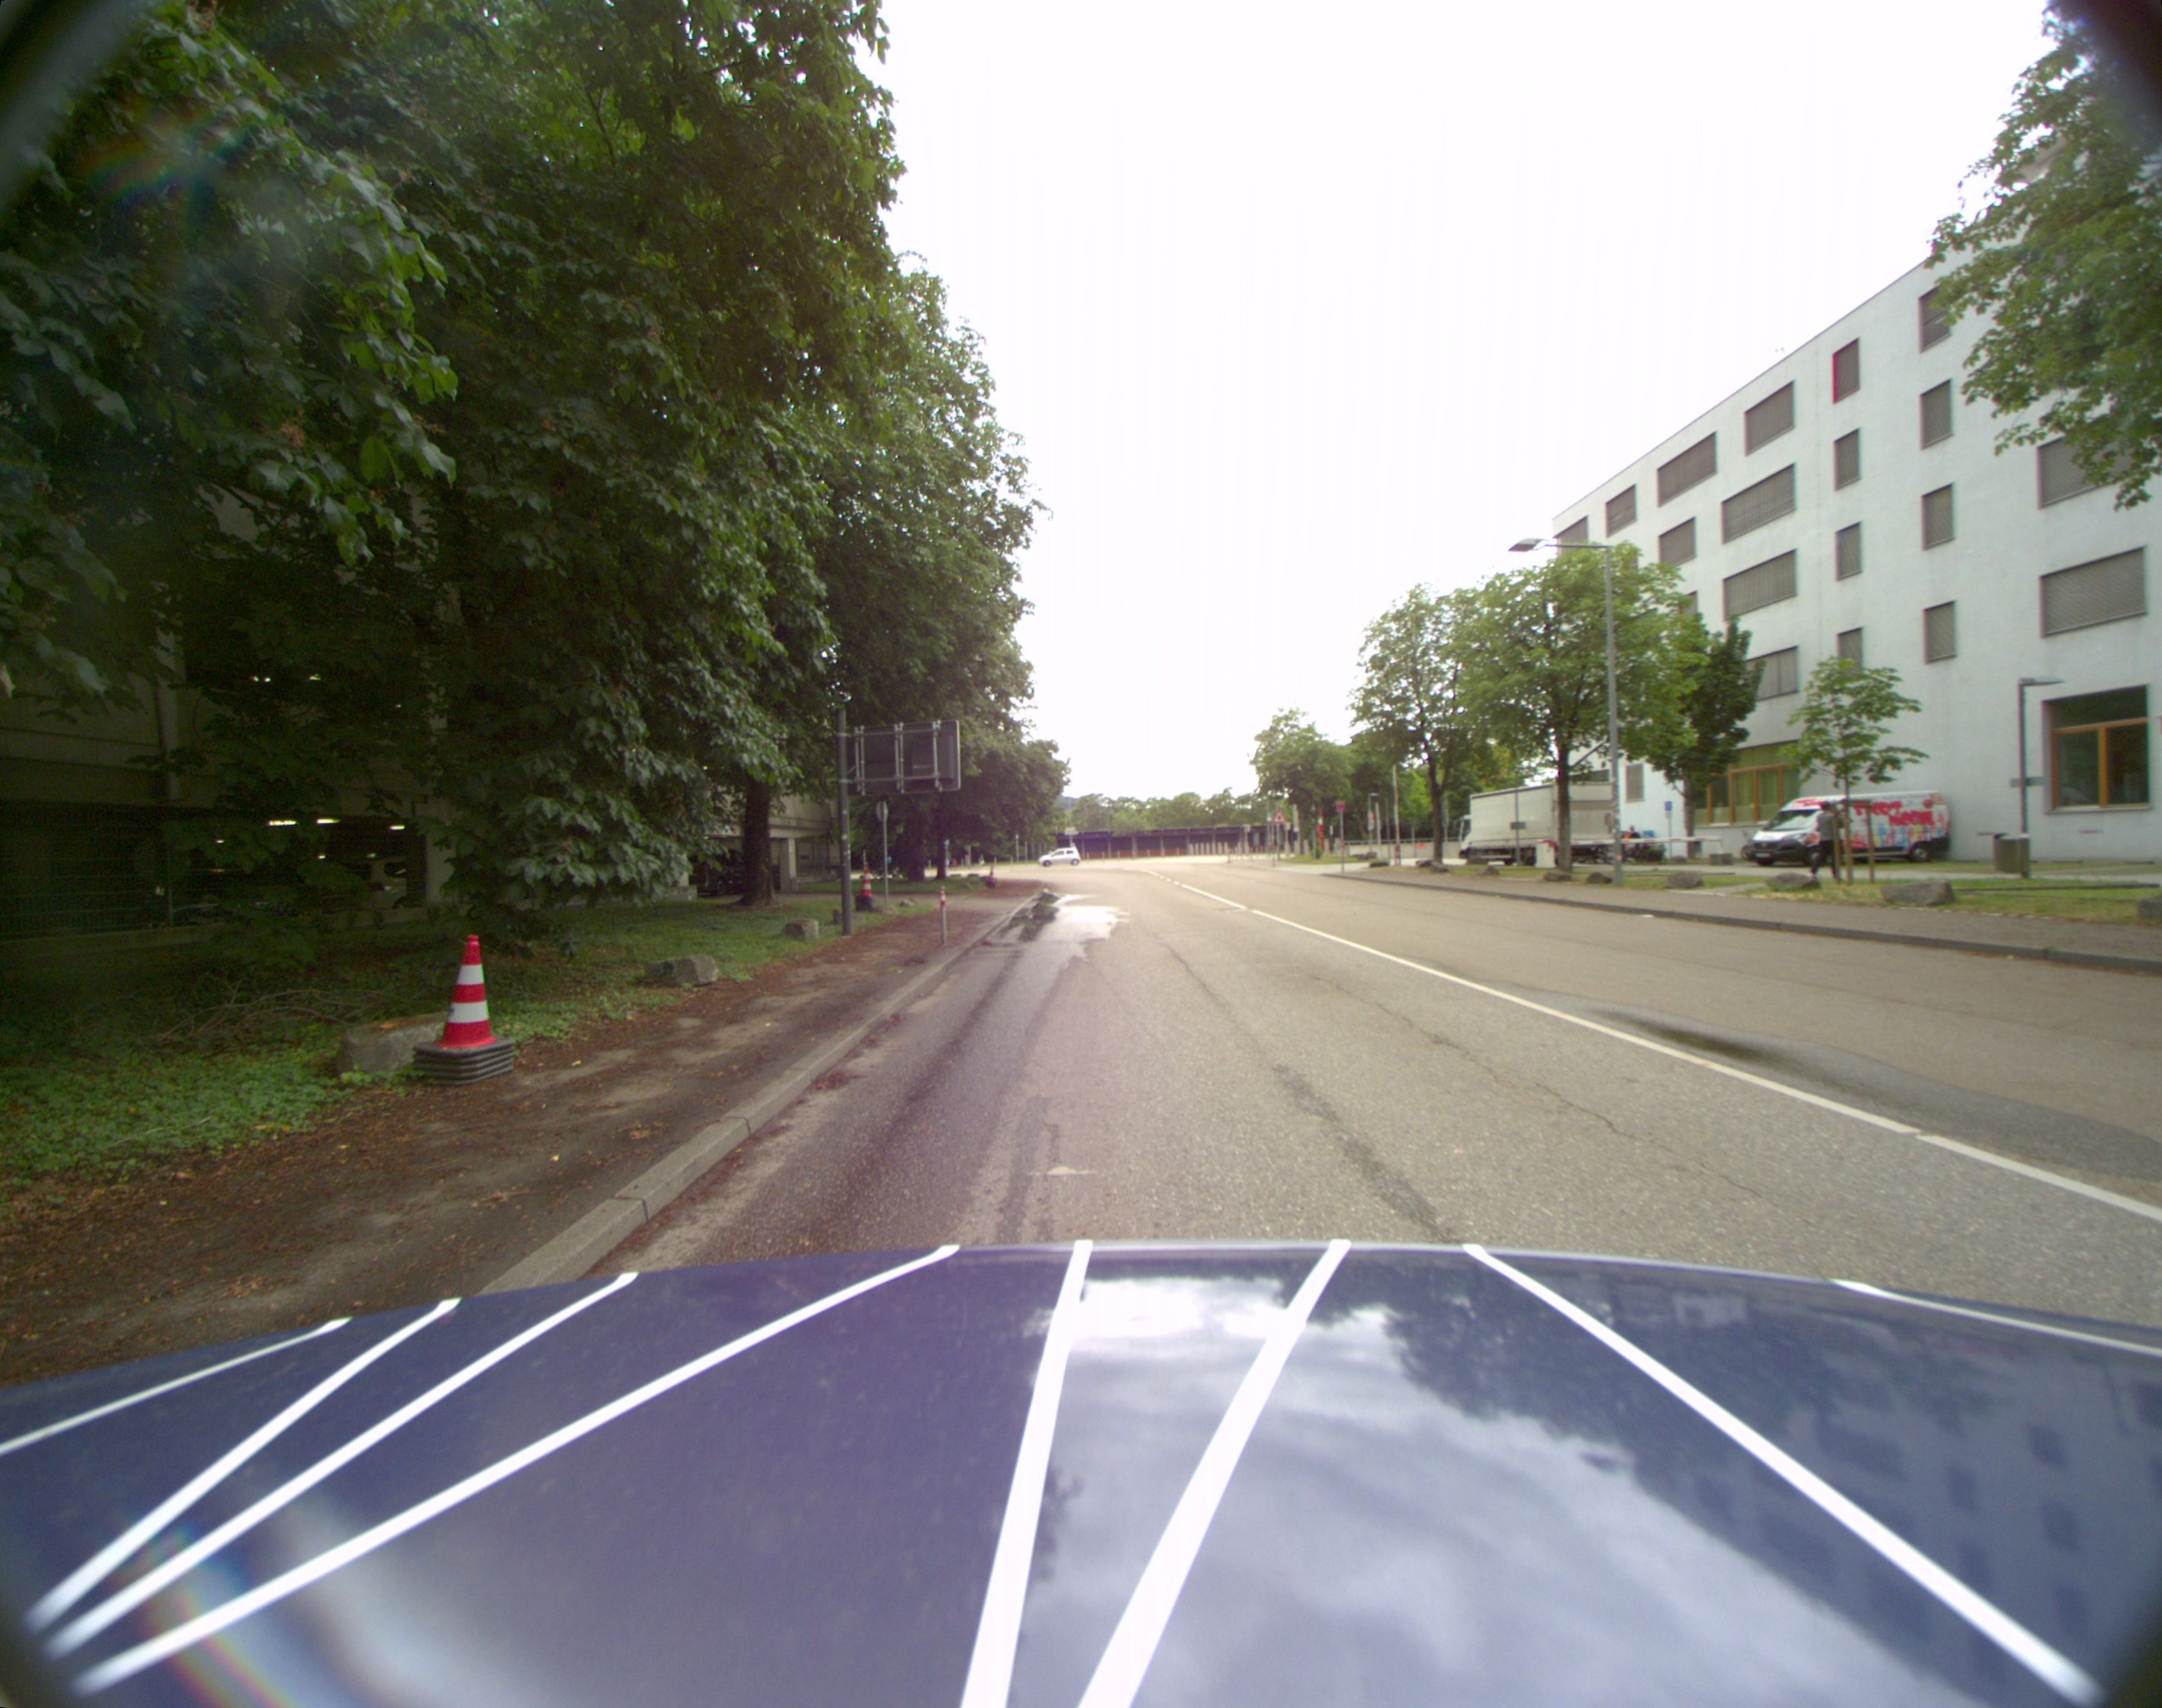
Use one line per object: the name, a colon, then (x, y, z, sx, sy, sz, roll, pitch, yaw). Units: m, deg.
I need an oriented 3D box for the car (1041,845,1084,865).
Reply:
car: (-1.602, 0.077, 64.851, 3.502, 1.448, 1.606, -3, 2, -6)

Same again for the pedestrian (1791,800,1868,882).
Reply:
pedestrian: (15.844, -0.281, 16.100, 0.845, 1.662, 0.786, -3, 2, -2)

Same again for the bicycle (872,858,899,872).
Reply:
bicycle: (-17.560, 1.008, 68.288, 2.257, 1.117, 0.748, -3, 2, -3)

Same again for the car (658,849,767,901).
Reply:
car: (-14.659, 0.752, 30.573, 1.924, 1.824, 4.735, -3, 1, 0)

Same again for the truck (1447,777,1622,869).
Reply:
truck: (20.365, -1.360, 34.884, 2.684, 3.580, 8.361, -3, 2, -2)

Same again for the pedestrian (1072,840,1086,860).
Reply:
pedestrian: (-0.194, -0.411, 72.525, 1.200, 1.824, 0.927, -3, 3, 4)

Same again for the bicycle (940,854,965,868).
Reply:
bicycle: (-11.564, 0.627, 68.257, 2.050, 1.137, 0.777, -3, 3, -1)

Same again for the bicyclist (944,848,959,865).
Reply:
bicyclist: (-11.590, 0.211, 68.239, 1.101, 1.487, 0.927, -3, 3, -1)

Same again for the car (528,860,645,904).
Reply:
car: (-20.012, 1.068, 30.986, 1.876, 1.445, 4.000, -3, 2, 4)

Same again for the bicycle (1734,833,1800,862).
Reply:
bicycle: (27.616, -0.279, 30.588, 2.029, 1.064, 0.613, -3, 2, 4)

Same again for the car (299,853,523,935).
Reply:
car: (-17.252, 0.930, 19.952, 1.589, 1.699, 4.666, -3, 2, 1)

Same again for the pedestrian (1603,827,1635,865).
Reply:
pedestrian: (23.073, -0.338, 32.588, 0.680, 1.597, 0.886, -4, 2, -18)

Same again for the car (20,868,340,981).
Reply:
car: (-17.477, 1.262, 15.085, 1.589, 1.699, 3.856, -3, 2, 1)

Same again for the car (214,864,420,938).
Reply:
car: (-20.268, 1.166, 20.413, 1.721, 1.577, 3.690, -3, 2, -1)

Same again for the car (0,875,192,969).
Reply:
car: (-20.375, 1.319, 14.768, 1.721, 1.537, 3.700, -3, 2, -1)

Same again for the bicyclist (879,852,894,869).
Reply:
bicyclist: (-17.484, 0.553, 68.281, 1.159, 1.422, 0.742, -3, 2, -3)

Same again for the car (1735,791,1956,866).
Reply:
car: (26.600, -0.883, 26.587, 5.640, 2.266, 2.078, -3, 2, 0)
